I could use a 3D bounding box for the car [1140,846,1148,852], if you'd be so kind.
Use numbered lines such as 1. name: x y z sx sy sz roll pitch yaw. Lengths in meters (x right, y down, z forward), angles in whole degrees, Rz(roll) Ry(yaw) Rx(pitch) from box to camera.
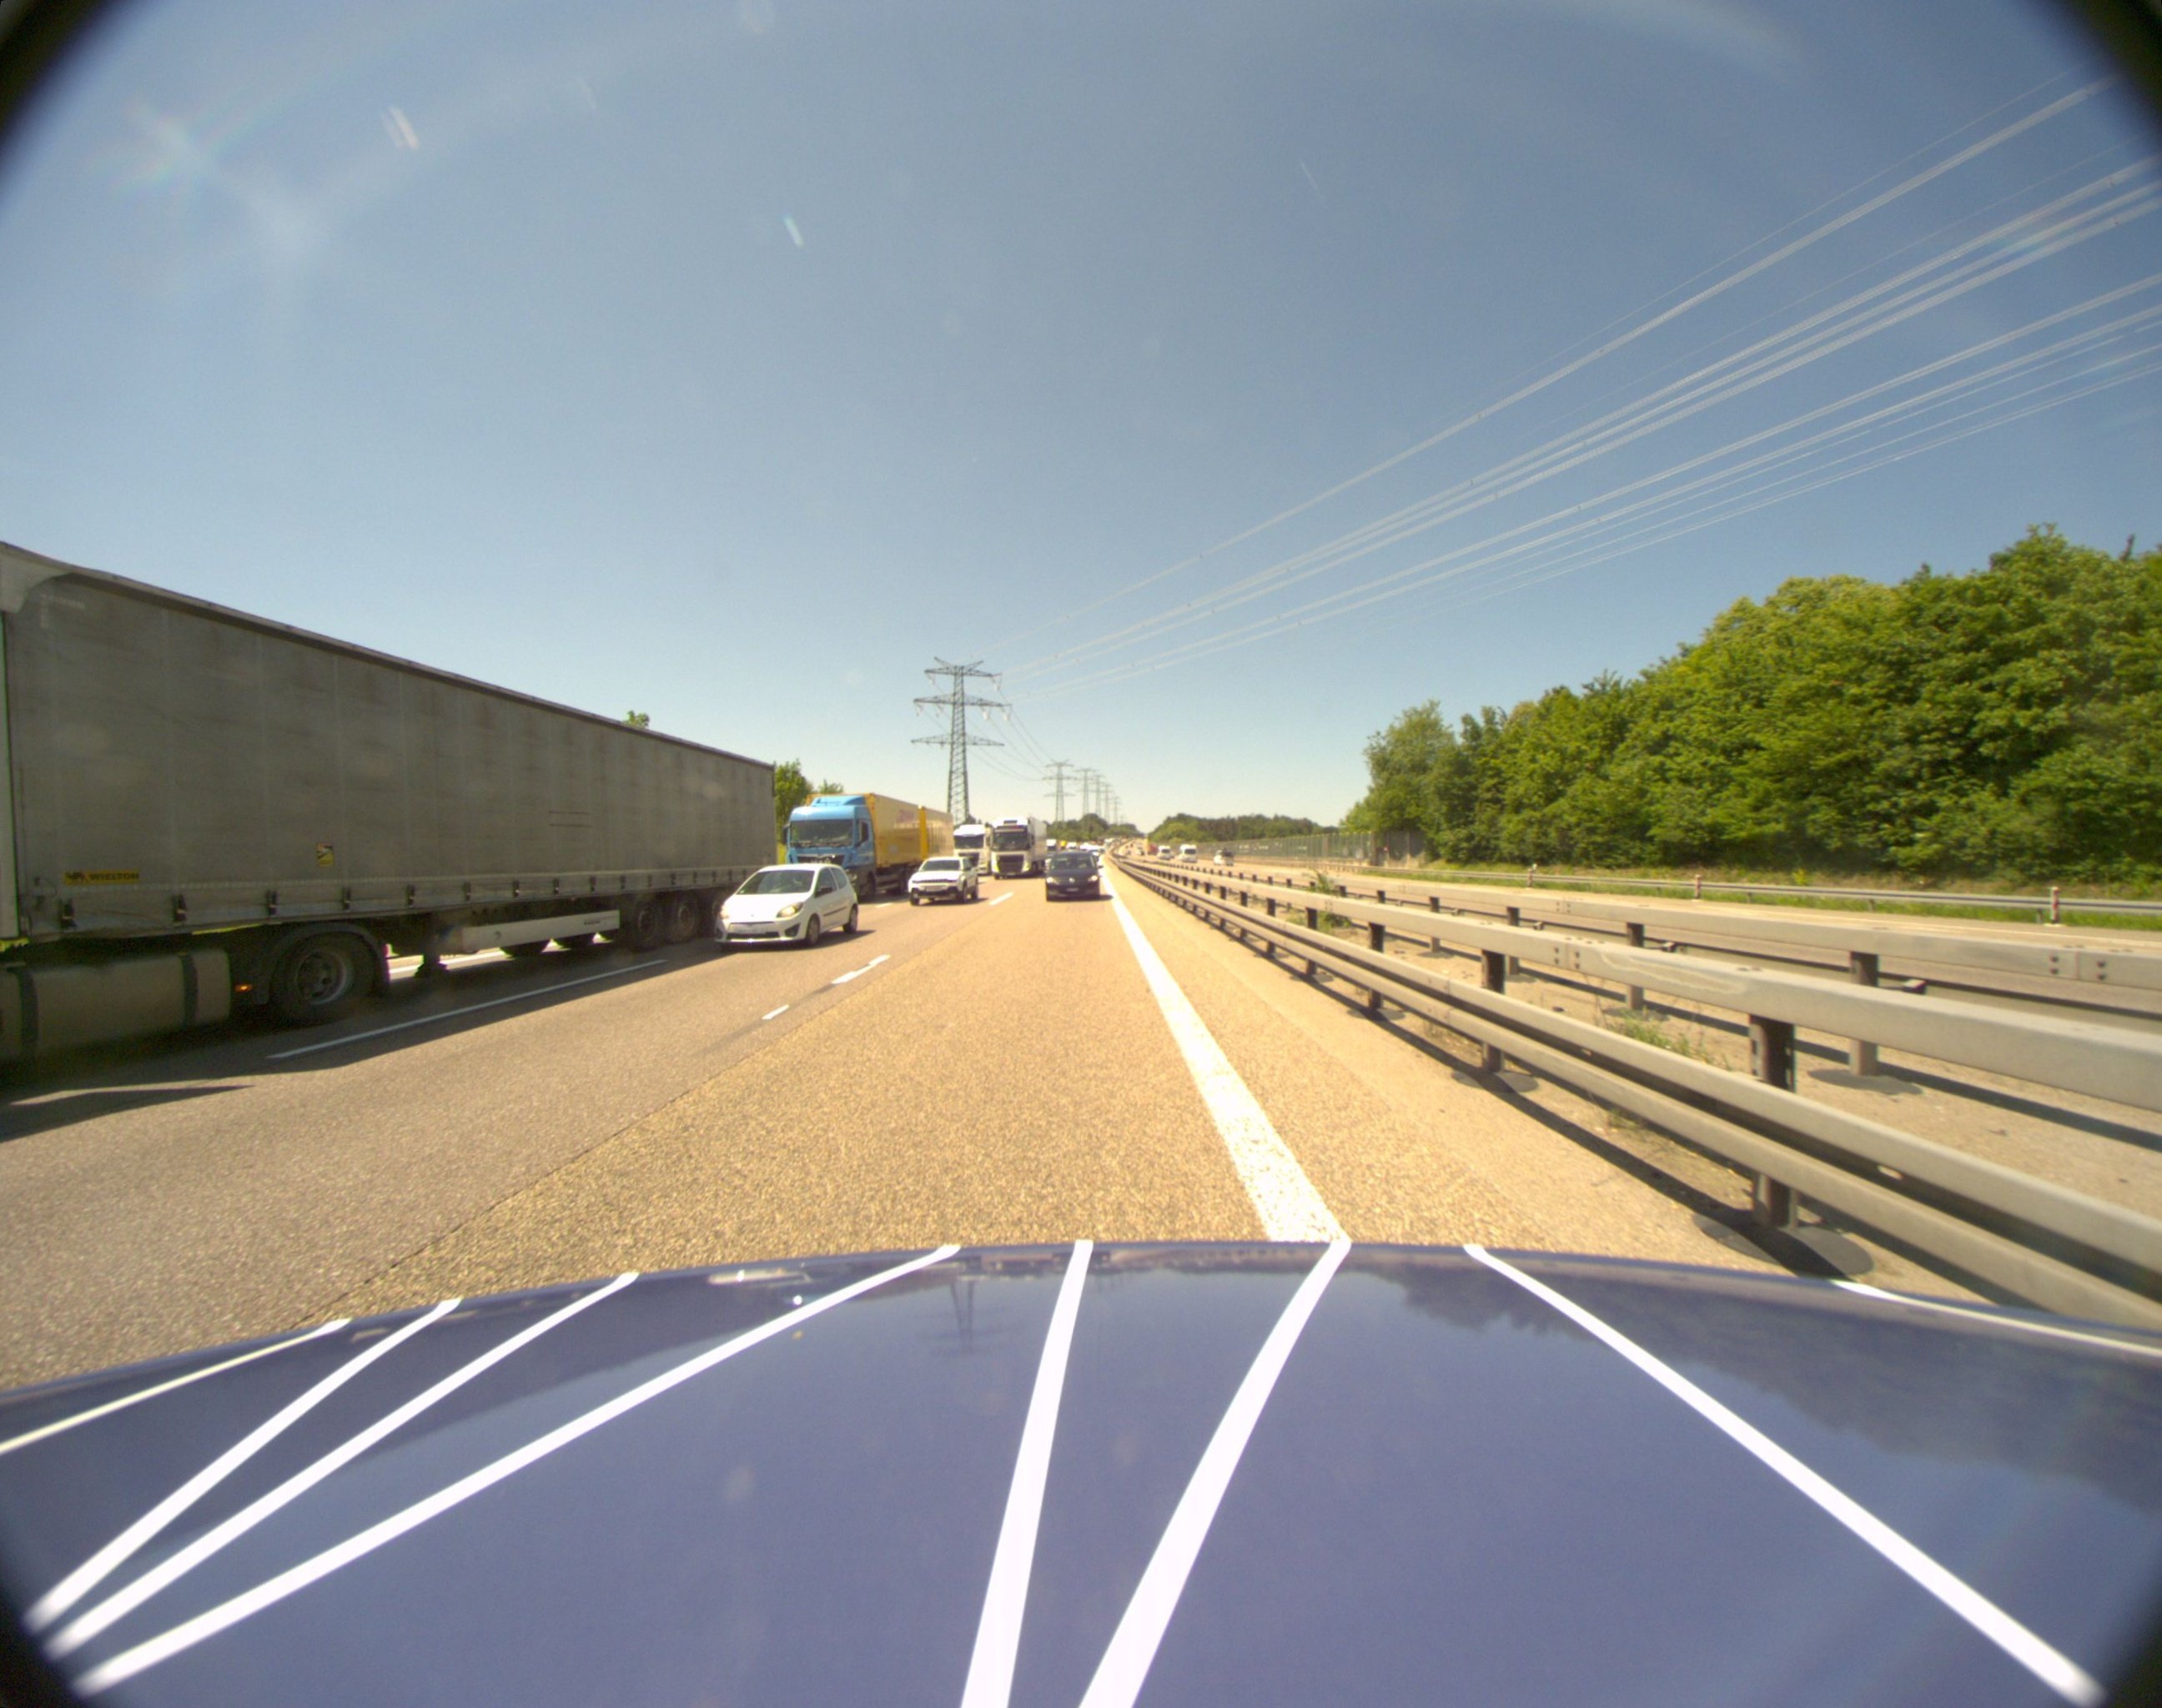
1. car: 18.225 -1.495 221.059 1.881 1.438 4.144 -2 1 0

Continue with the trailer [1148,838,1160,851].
1. trailer: 23.245 -3.068 243.198 2.770 3.953 14.681 1 0 1

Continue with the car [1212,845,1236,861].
1. car: 18.220 -0.193 96.944 1.869 1.894 5.491 1 1 -1

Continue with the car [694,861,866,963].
1. car: -5.503 0.977 14.438 1.659 1.502 3.825 -2 1 0

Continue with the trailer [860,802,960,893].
1. trailer: -8.609 -0.289 39.627 2.772 4.093 9.377 -2 0 1

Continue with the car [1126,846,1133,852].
1. car: 15.275 -1.583 238.476 1.778 1.621 3.950 -2 1 0

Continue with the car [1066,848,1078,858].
1. car: -1.528 -0.251 129.814 1.821 1.569 3.999 -2 1 1

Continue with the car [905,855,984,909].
1. car: -4.509 0.872 25.578 1.776 1.521 3.851 -2 1 2

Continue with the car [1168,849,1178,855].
1. car: 21.795 -0.498 180.458 1.689 1.447 4.344 1 1 0

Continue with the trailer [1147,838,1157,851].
1. trailer: 23.347 -3.077 249.267 2.764 3.953 6.131 1 0 1

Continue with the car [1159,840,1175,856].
1. car: 15.249 -1.054 135.388 2.058 2.636 5.838 3 1 0

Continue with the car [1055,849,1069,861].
1. car: -2.720 0.171 109.390 1.821 1.569 3.999 -2 1 1

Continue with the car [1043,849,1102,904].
1. car: -0.195 0.689 25.602 1.748 1.569 4.000 -2 1 2

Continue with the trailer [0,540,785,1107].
1. trailer: -9.034 -0.201 12.024 2.970 4.026 13.751 -2 0 1

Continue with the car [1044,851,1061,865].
1. car: -3.518 0.498 93.349 1.821 1.569 3.999 -2 1 1

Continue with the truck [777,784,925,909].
1. truck: -8.677 -0.244 30.321 2.772 4.085 9.952 -2 0 0

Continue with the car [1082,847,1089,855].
1. car: 1.265 -0.910 218.599 1.998 2.002 3.999 -2 1 1

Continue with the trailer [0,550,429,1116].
1. trailer: -9.131 -0.113 5.567 2.932 4.020 6.410 -2 0 1

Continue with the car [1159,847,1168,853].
1. car: 22.375 -1.095 206.969 1.998 1.567 5.275 -2 1 3

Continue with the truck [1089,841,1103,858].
1. truck: 2.685 -0.823 136.827 2.309 2.789 5.109 -2 1 2

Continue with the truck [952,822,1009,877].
1. truck: -7.887 -0.386 61.173 2.695 3.908 11.296 -2 1 1

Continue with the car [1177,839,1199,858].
1. car: 14.479 -0.752 103.130 2.161 2.579 5.889 0 1 0

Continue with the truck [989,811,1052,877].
1. truck: -4.009 -0.662 54.333 2.717 4.015 14.256 -2 0 2
